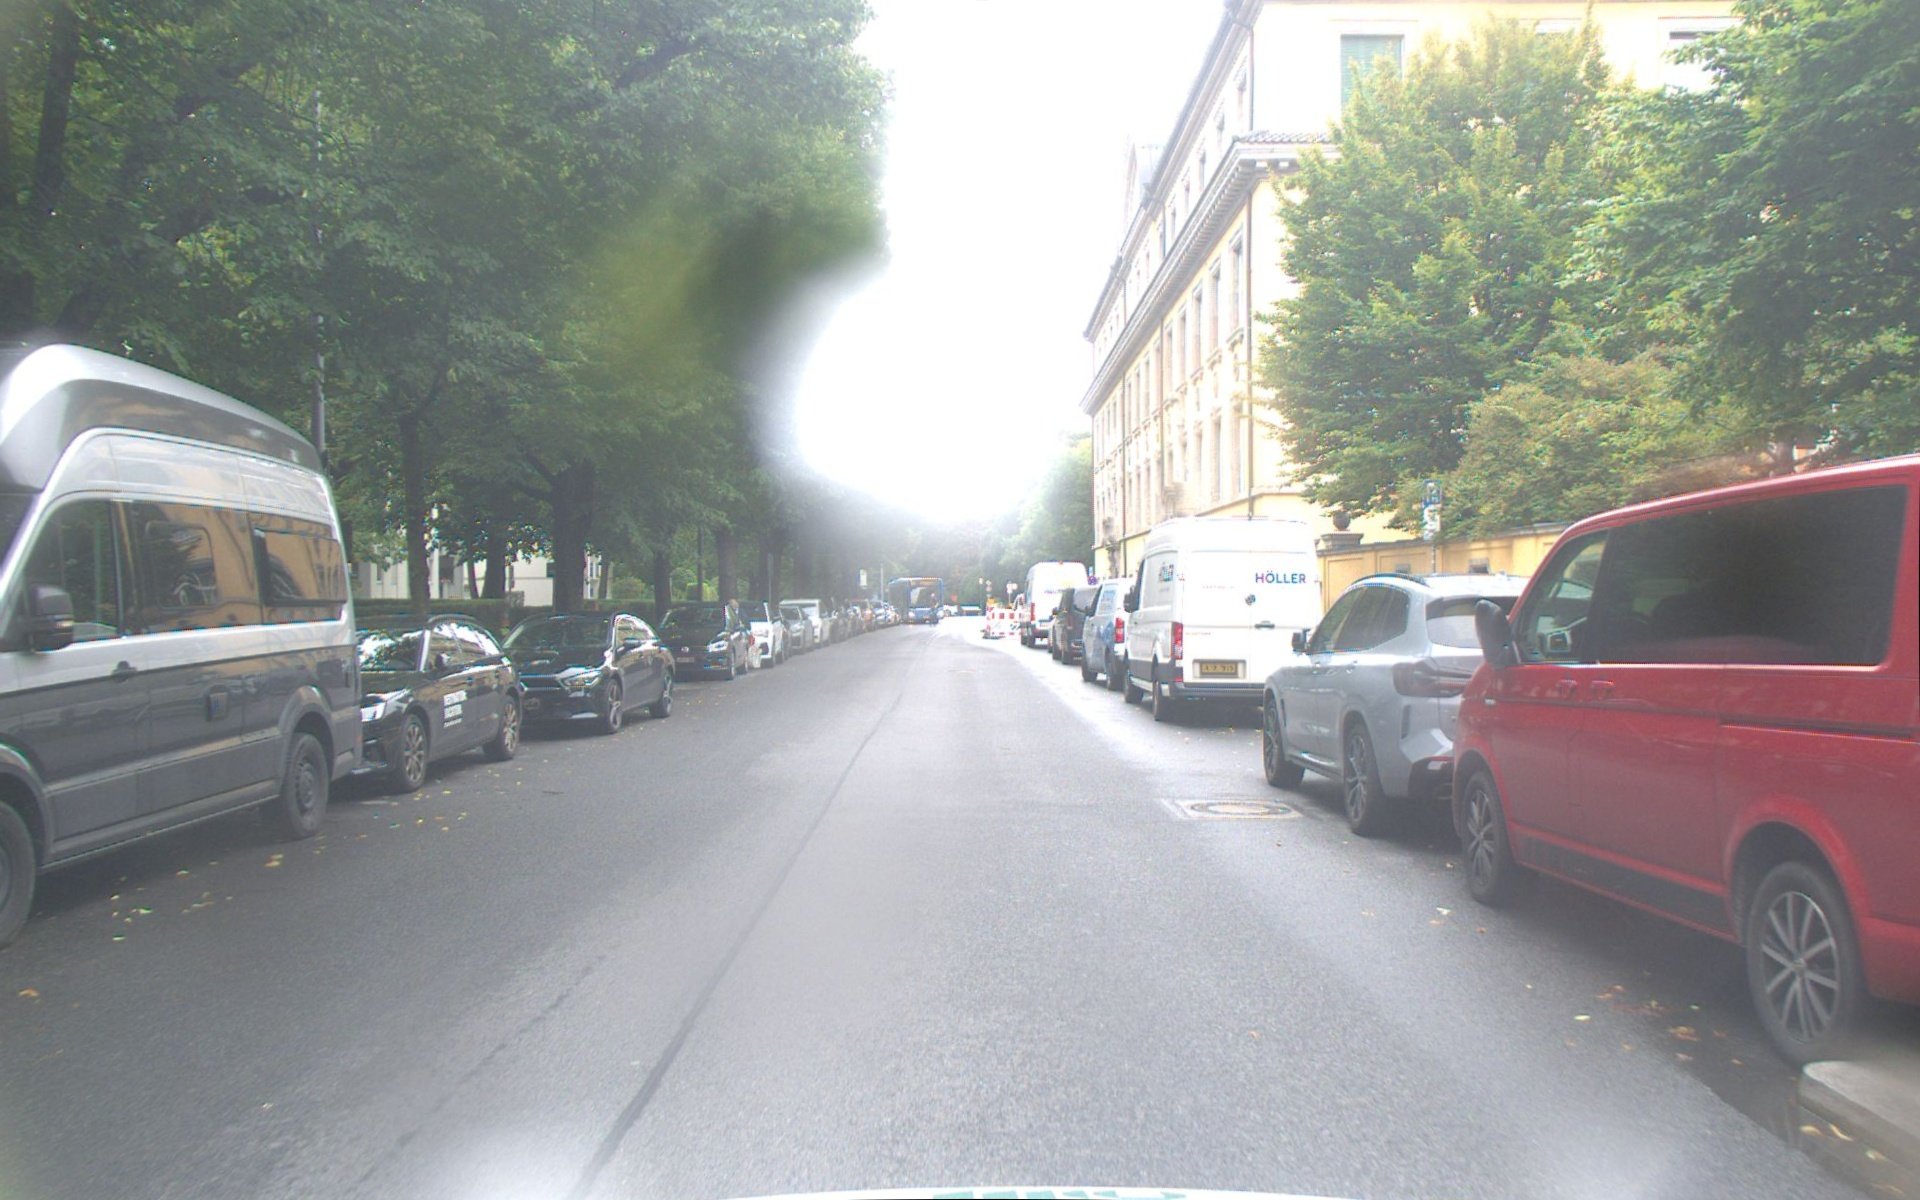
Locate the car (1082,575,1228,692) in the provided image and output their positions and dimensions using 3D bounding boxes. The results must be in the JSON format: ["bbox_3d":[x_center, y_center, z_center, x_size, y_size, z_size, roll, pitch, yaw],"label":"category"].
[{"bbox_3d":[3.380,0.554,29.441,1.953,1.916,3.998,-1,0,-2],"label":"car"}]

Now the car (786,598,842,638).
[{"bbox_3d":[-5.505,0.665,62.743,1.954,1.445,3.997,-1,0,-3],"label":"car"}]

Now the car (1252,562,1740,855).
[{"bbox_3d":[3.517,0.622,11.874,1.953,1.663,4.563,-1,0,-1],"label":"car"}]

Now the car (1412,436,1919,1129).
[{"bbox_3d":[3.582,0.512,6.847,1.873,1.971,4.967,-1,0,-2],"label":"car"}]

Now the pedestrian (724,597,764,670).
[{"bbox_3d":[-4.855,0.741,37.104,0.867,1.626,0.822,-1,0,-8],"label":"pedestrian"}]

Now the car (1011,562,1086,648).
[{"bbox_3d":[2.852,0.161,54.085,1.804,2.668,4.379,-1,0,-6],"label":"car"}]

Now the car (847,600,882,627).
[{"bbox_3d":[-5.451,0.763,94.413,1.954,1.445,3.997,-1,0,-3],"label":"car"}]

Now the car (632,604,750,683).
[{"bbox_3d":[-5.493,0.846,34.246,1.954,1.513,4.127,-1,0,-3],"label":"car"}]

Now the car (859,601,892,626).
[{"bbox_3d":[-5.123,0.779,100.088,1.954,1.445,3.997,-1,0,-3],"label":"car"}]

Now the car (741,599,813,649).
[{"bbox_3d":[-5.554,0.716,50.546,1.954,1.445,3.997,-1,0,-3],"label":"car"}]

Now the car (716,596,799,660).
[{"bbox_3d":[-5.464,0.735,45.112,1.954,1.648,4.127,-1,0,-3],"label":"car"}]

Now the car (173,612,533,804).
[{"bbox_3d":[-5.281,0.859,14.992,1.954,1.445,3.997,-1,0,-3],"label":"car"}]

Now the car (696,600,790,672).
[{"bbox_3d":[-5.275,0.833,40.600,1.954,1.648,4.127,-1,0,-3],"label":"car"}]

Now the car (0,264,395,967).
[{"bbox_3d":[-5.270,0.072,9.253,2.128,3.055,6.232,-1,0,-1],"label":"car"}]

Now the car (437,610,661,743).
[{"bbox_3d":[-4.978,0.870,20.624,1.954,1.445,4.127,-1,0,-3],"label":"car"}]

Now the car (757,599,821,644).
[{"bbox_3d":[-5.776,0.693,56.221,1.954,1.445,3.997,-1,0,-3],"label":"car"}]

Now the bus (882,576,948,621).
[{"bbox_3d":[-3.157,-0.070,113.677,2.887,2.970,8.211,0,0,-13],"label":"bus"}]

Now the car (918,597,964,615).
[{"bbox_3d":[-1.645,0.504,143.939,3.907,1.573,1.999,0,0,-3],"label":"car"}]

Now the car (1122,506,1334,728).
[{"bbox_3d":[3.453,0.193,22.367,1.953,2.603,5.430,-1,0,0],"label":"car"}]

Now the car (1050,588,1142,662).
[{"bbox_3d":[3.276,0.584,40.569,1.758,1.708,3.998,-1,0,-2],"label":"car"}]

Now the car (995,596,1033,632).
[{"bbox_3d":[2.813,0.696,85.332,1.767,1.767,4.002,-1,0,4],"label":"car"}]

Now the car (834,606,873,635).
[{"bbox_3d":[-5.490,1.040,85.349,1.954,1.445,3.997,-1,0,-3],"label":"car"}]
